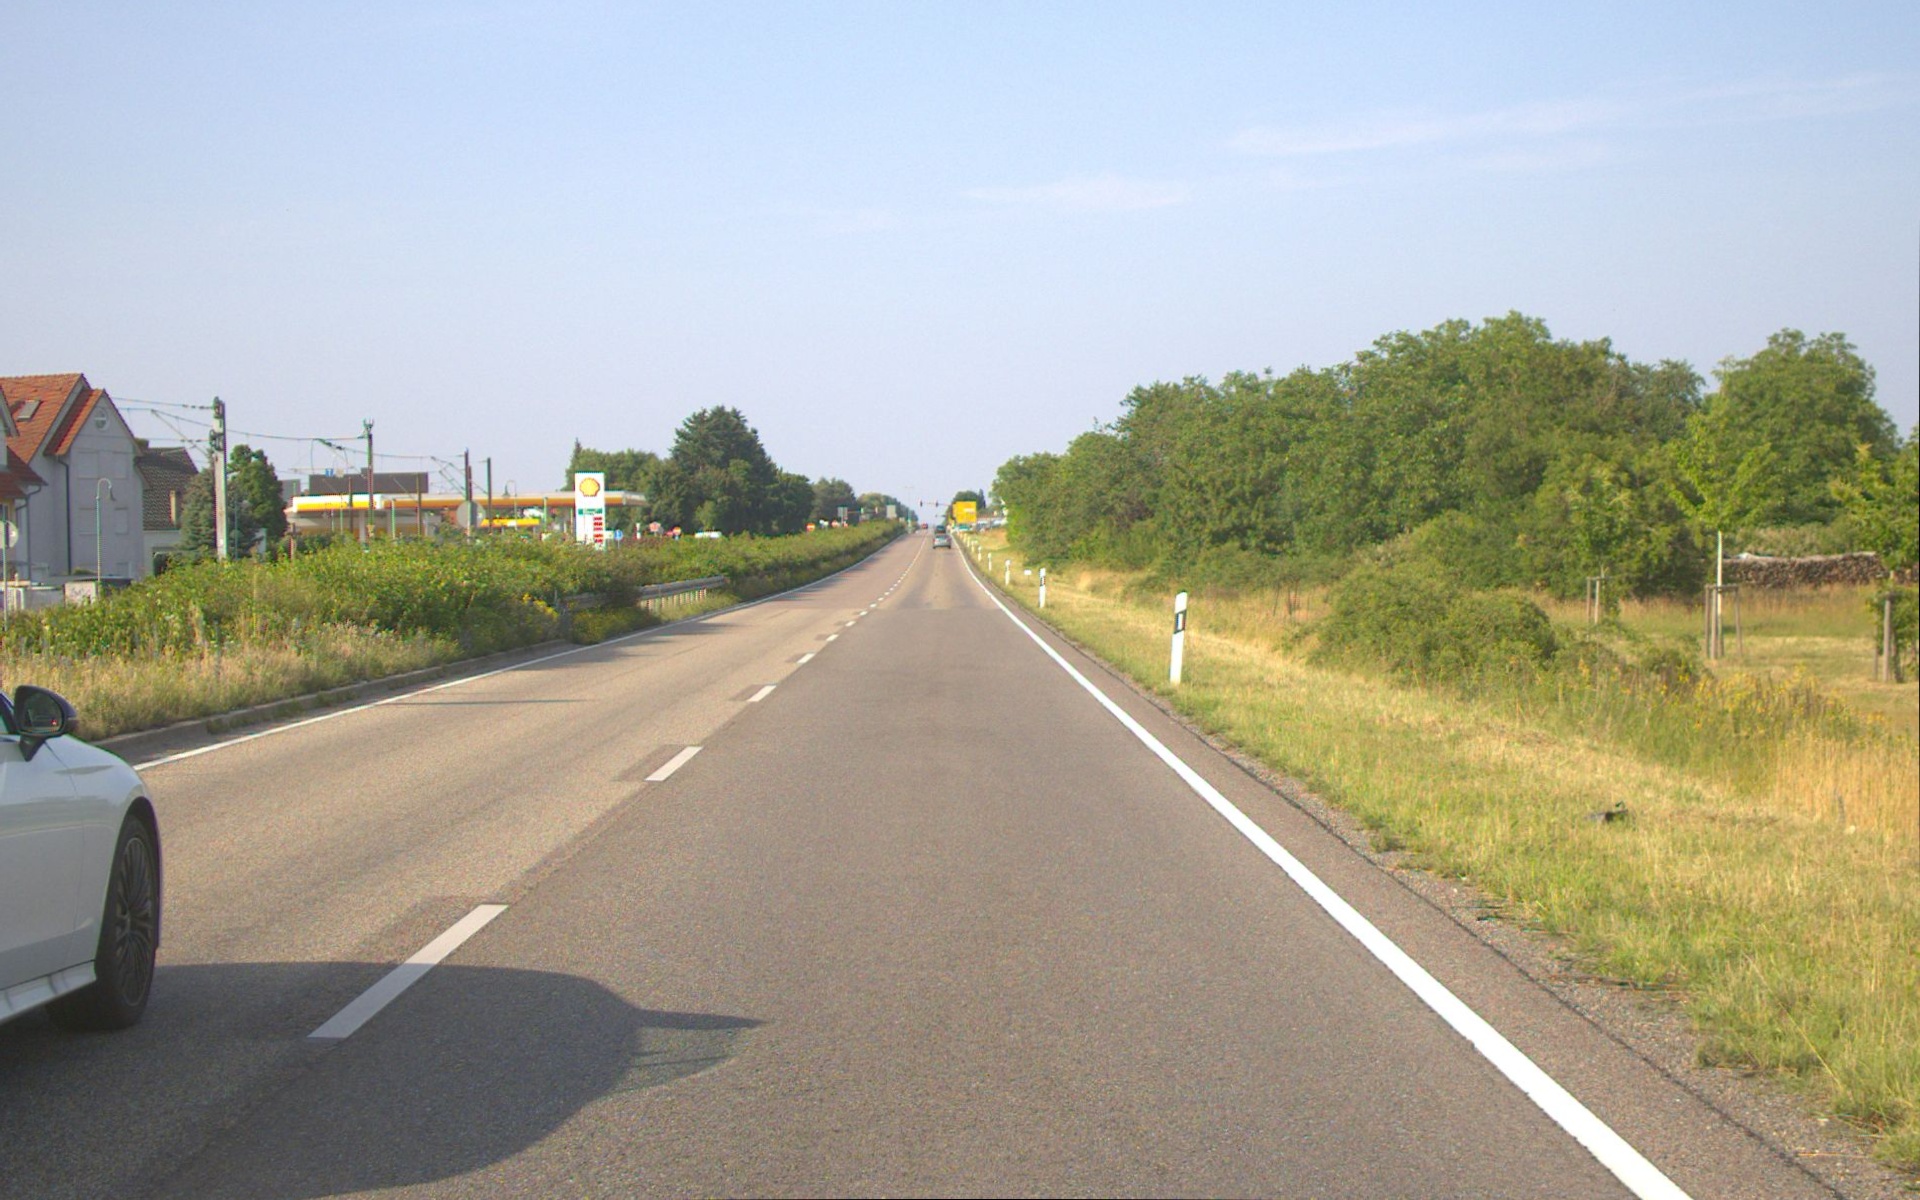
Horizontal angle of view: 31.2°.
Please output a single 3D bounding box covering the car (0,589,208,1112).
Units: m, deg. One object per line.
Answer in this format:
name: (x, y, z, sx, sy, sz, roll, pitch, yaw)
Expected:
car: (-3.403, 0.670, 9.004, 1.771, 1.333, 4.950, 1, 1, 0)
